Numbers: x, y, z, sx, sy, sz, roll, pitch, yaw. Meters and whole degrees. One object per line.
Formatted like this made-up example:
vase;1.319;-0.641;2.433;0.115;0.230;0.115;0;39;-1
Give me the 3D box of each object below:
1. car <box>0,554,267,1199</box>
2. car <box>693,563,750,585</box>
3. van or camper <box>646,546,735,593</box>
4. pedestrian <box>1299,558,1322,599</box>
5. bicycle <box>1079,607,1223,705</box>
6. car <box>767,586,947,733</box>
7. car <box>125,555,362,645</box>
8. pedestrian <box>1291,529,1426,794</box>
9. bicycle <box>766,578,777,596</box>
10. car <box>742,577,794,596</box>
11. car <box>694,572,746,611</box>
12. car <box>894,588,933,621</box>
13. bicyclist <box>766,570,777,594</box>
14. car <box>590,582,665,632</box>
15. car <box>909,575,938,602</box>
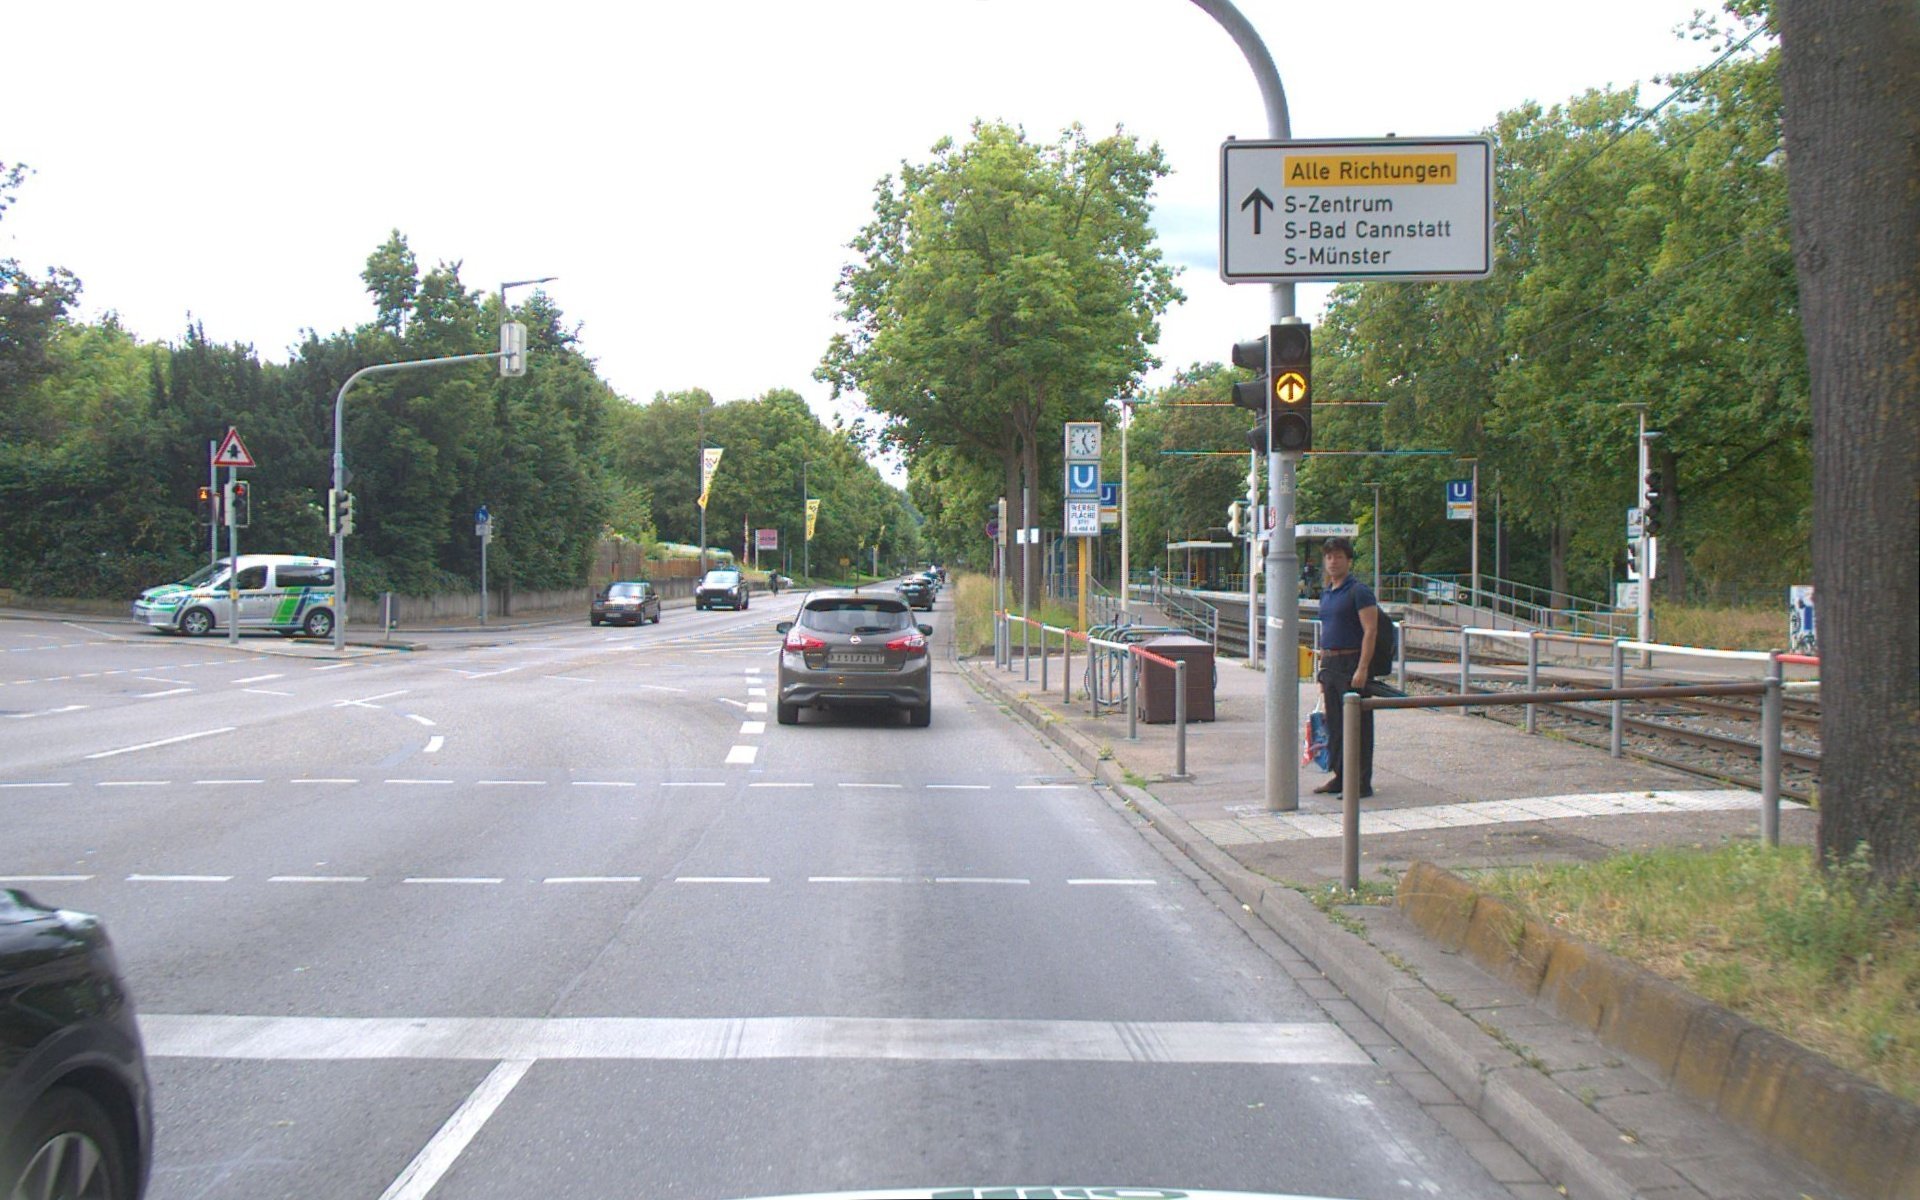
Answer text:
car;-2.332;0.680;1.787;1.669;1.506;3.666;0;0;-1
car;-18.002;-1.951;124.941;3.903;1.523;1.860;2;0;4
van or camper;-23.576;-2.645;144.867;6.998;3.428;2.796;6;1;-1
pedestrian;13.364;-0.827;62.989;0.703;1.537;0.724;2;0;2
bicycle;2.351;0.679;20.426;1.641;1.109;0.601;-3;0;-4
car;-1.134;0.631;19.910;1.799;1.555;3.930;1;0;1
car;-16.083;0.000;37.285;1.915;1.906;4.512;1;0;43
pedestrian;2.789;0.417;11.649;0.736;1.767;0.840;-2;0;4
bicycle;-12.308;-0.842;108.027;0.629;1.165;2.146;2;1;-5
car;-16.838;-1.173;145.144;4.287;1.466;1.960;2;1;-3
car;-10.973;-0.387;75.971;1.864;1.708;5.078;0;0;-2
car;-2.252;0.200;80.729;1.675;1.501;3.672;1;0;1
bicyclist;-12.279;-1.185;107.989;0.629;1.562;0.978;2;0;-5
car;-10.829;0.217;54.141;1.707;1.490;4.341;2;0;-2
car;-2.137;-0.678;97.007;1.472;1.555;3.672;1;0;1
